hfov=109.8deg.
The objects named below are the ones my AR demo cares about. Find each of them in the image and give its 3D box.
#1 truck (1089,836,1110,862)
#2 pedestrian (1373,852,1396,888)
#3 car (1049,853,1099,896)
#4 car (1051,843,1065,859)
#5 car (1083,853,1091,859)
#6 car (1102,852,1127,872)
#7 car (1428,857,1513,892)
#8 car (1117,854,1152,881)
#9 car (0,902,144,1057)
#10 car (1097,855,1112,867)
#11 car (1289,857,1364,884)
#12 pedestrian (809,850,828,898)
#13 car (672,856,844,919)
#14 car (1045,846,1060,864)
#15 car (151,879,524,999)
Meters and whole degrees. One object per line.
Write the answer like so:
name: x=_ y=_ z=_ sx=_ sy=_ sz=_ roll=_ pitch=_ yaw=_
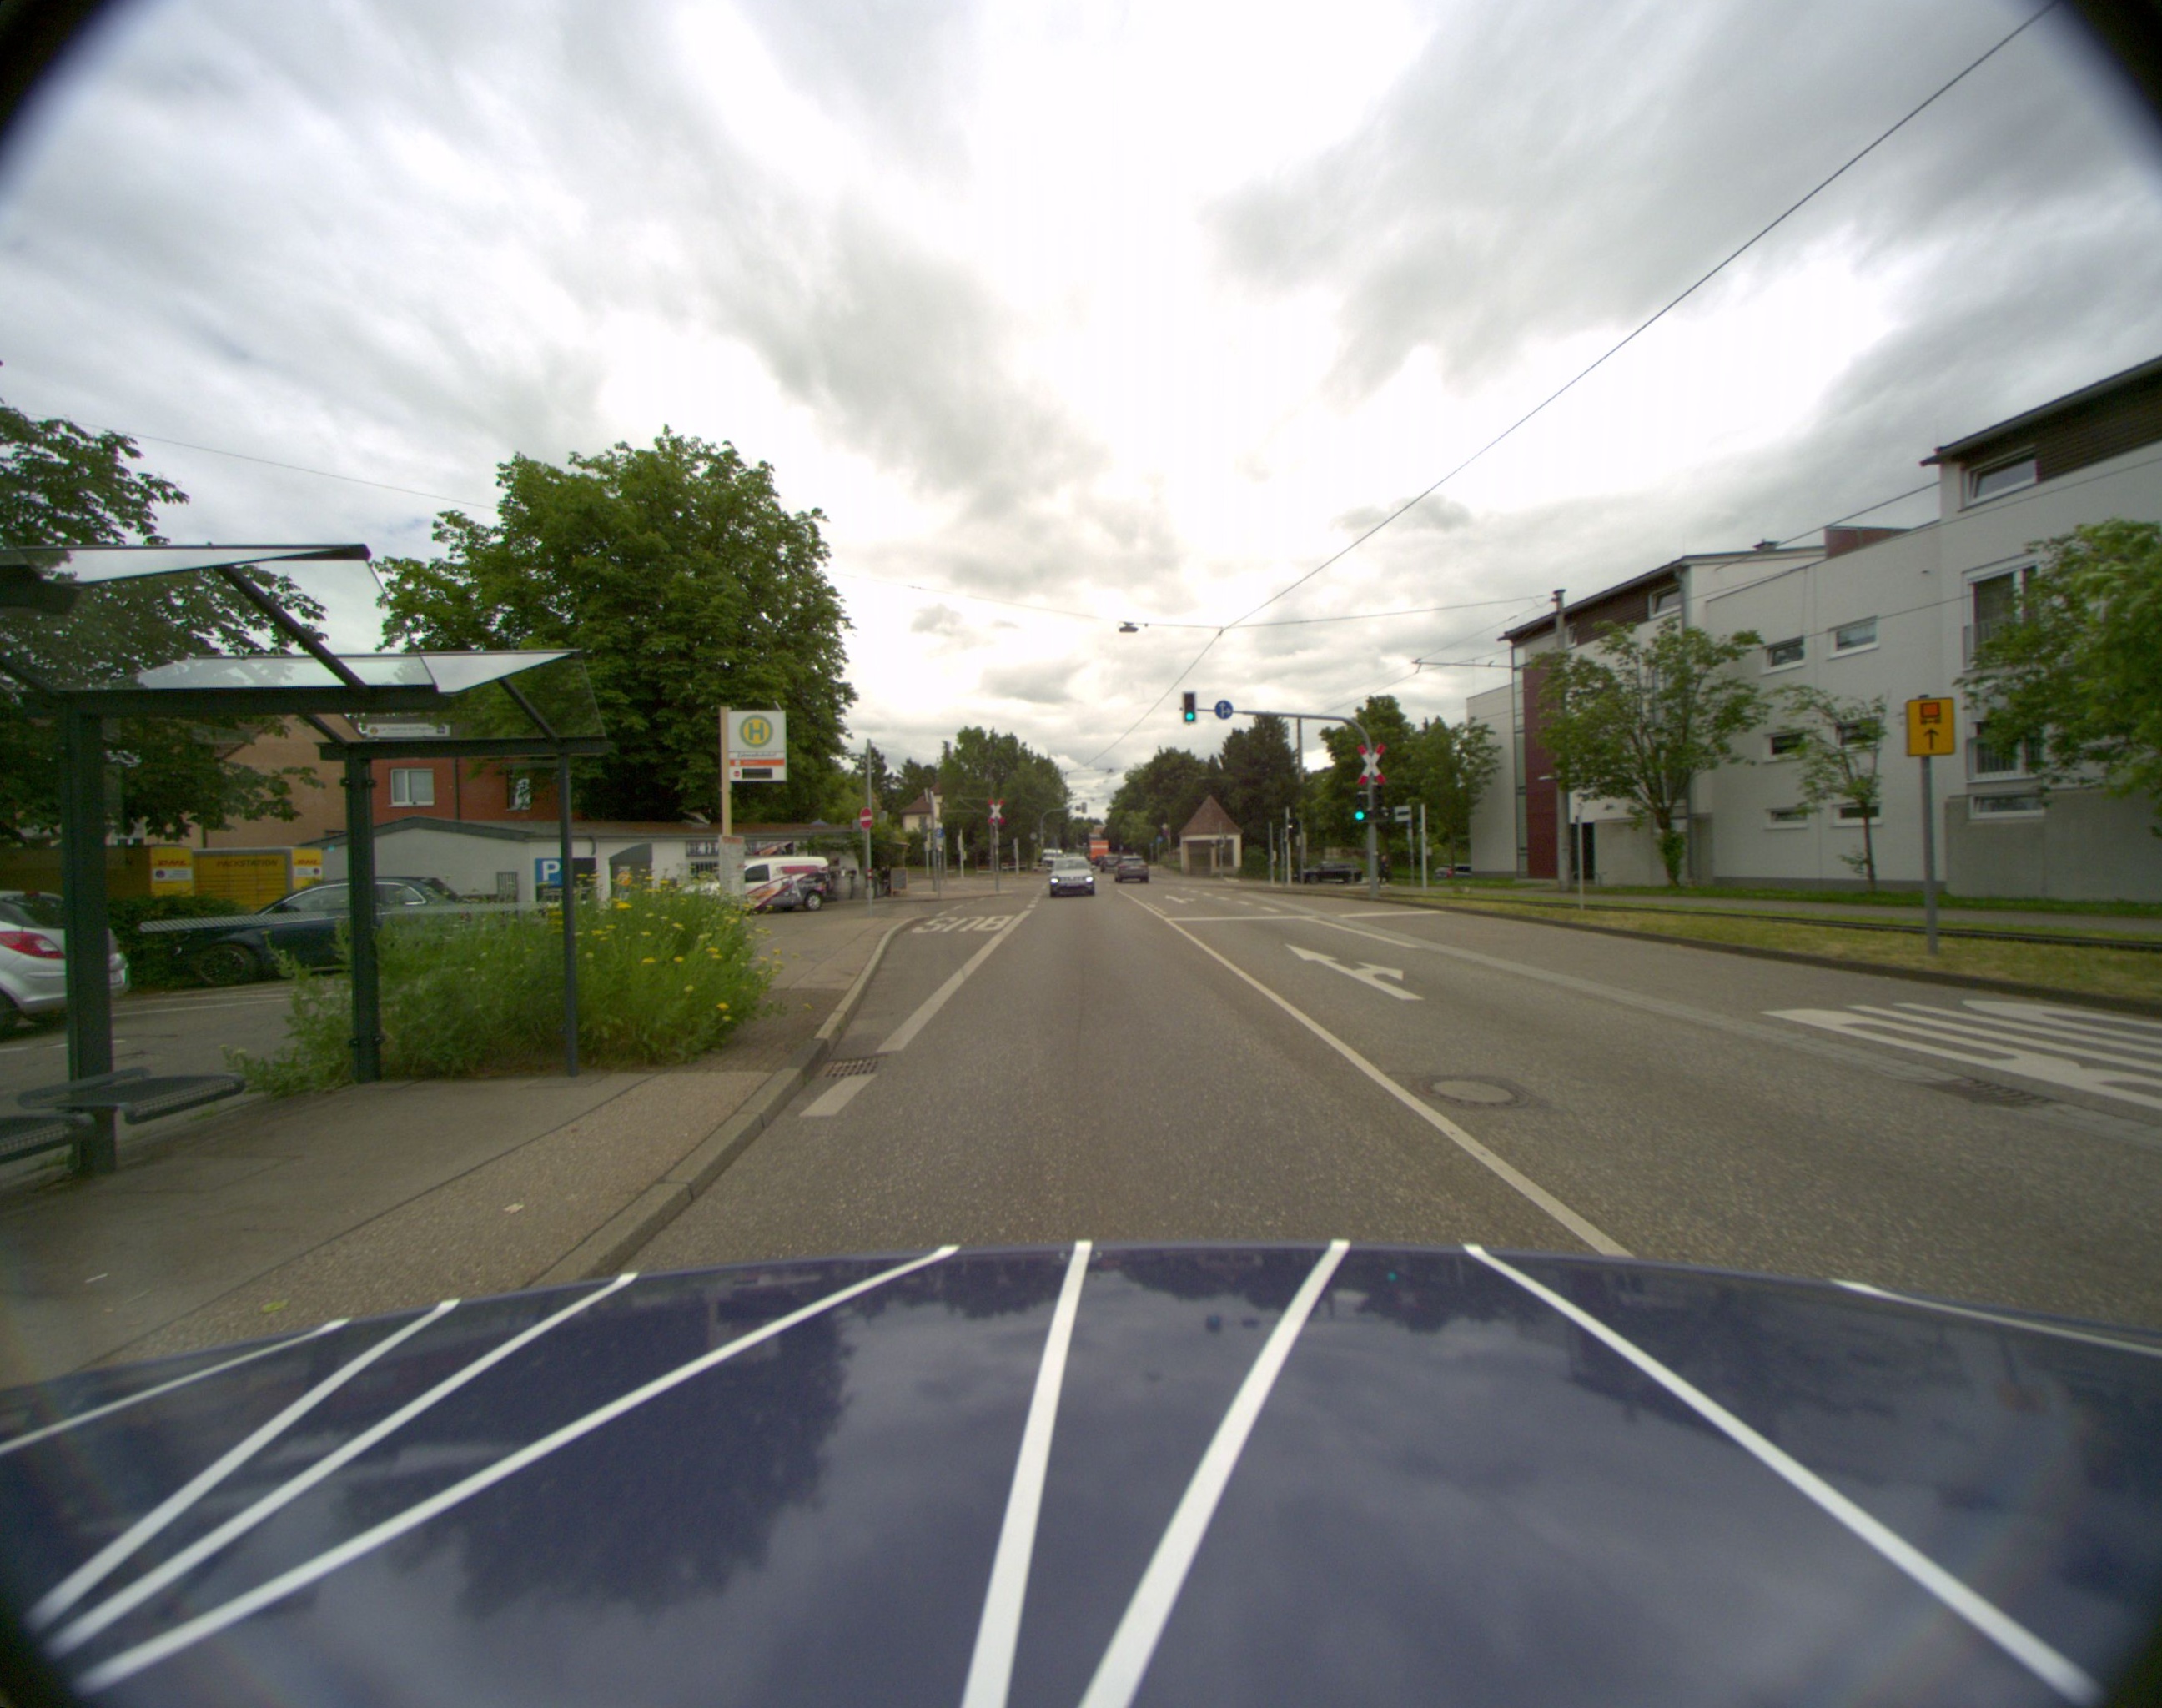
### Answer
truck: x=2.798 y=-0.720 z=115.513 sx=2.776 sy=3.697 sz=8.467 roll=1 pitch=0 yaw=-1
pedestrian: x=14.011 y=0.741 z=35.070 sx=0.677 sy=1.634 sz=0.819 roll=0 pitch=-1 yaw=-5
car: x=-0.366 y=0.814 z=32.467 sx=1.835 sy=1.610 sz=4.486 roll=-3 pitch=1 yaw=-3
car: x=-3.889 y=-0.536 z=129.556 sx=2.046 sy=2.588 sz=5.966 roll=-1 pitch=1 yaw=0
car: x=1.532 y=0.446 z=183.667 sx=1.944 sy=1.522 sz=4.526 roll=1 pitch=0 yaw=0
car: x=3.133 y=0.730 z=71.403 sx=1.835 sy=1.660 sz=4.487 roll=-4 pitch=1 yaw=-2
car: x=25.061 y=1.304 z=48.984 sx=4.469 sy=2.002 sz=1.999 roll=2 pitch=0 yaw=-6
car: x=3.179 y=0.779 z=45.675 sx=1.744 sy=1.550 sz=4.183 roll=-1 pitch=0 yaw=-1
car: x=-11.475 y=1.206 z=6.822 sx=3.522 sy=1.369 sz=1.544 roll=-1 pitch=-2 yaw=-31
car: x=2.906 y=0.849 z=94.256 sx=1.679 sy=1.497 sz=3.732 roll=1 pitch=0 yaw=-2
car: x=17.128 y=1.141 z=53.081 sx=4.488 sy=1.660 sz=1.964 roll=2 pitch=0 yaw=-7
pedestrian: x=-10.234 y=0.766 z=29.634 sx=0.687 sy=1.846 sz=0.623 roll=0 pitch=-1 yaw=-16
car: x=-10.125 y=0.985 z=24.193 sx=1.846 sy=1.738 sz=4.705 roll=-1 pitch=0 yaw=38
car: x=-4.180 y=0.096 z=111.534 sx=2.095 sy=2.589 sz=6.679 roll=-1 pitch=0 yaw=-2
car: x=-11.722 y=1.250 z=12.451 sx=4.006 sy=1.468 sz=1.875 roll=-2 pitch=1 yaw=-32
